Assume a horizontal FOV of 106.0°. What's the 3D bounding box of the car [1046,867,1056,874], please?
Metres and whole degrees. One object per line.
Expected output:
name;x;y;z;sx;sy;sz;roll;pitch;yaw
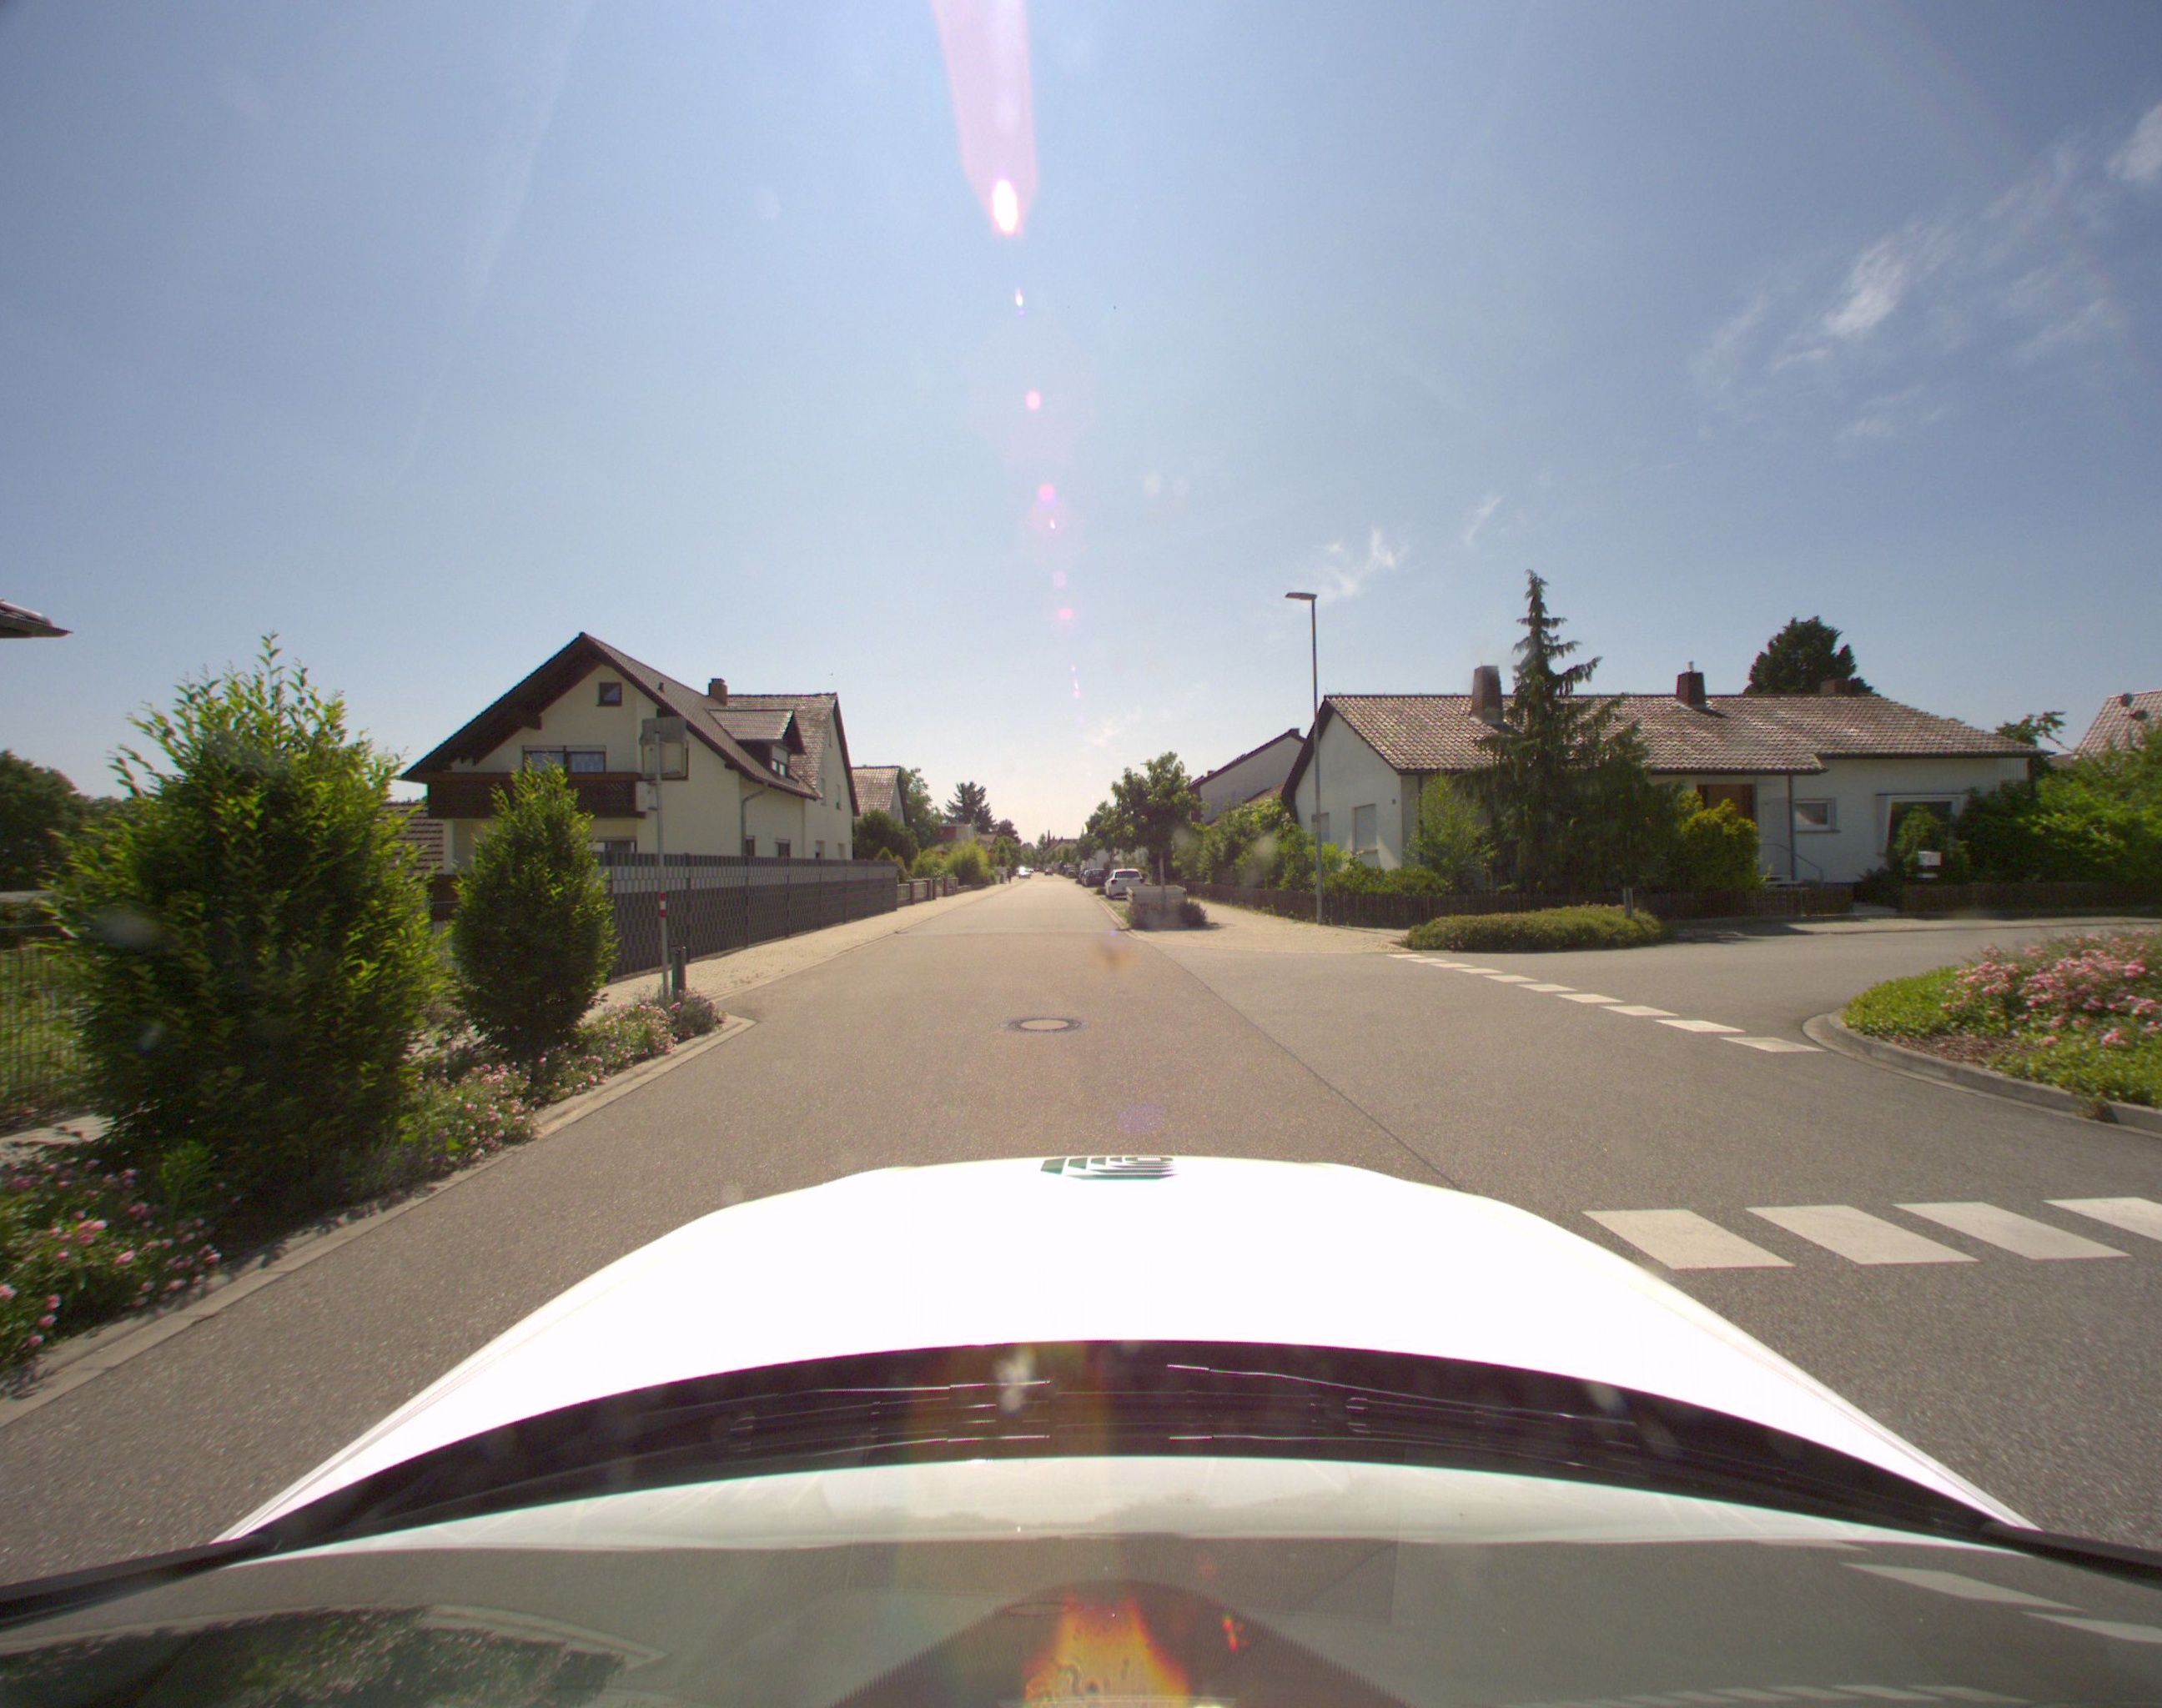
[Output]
car;-6.252;3.486;168.223;1.988;1.430;3.998;-1;-1;-1

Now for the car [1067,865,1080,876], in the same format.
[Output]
car;-1.291;2.815;142.067;2.094;1.882;4.839;-1;-1;-2

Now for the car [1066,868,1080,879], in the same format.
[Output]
car;-1.223;2.939;125.336;1.770;1.595;4.271;-1;-1;-5

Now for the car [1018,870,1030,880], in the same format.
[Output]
car;-9.364;3.418;133.445;1.847;1.488;4.381;-1;-1;-2

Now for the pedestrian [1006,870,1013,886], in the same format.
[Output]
pedestrian;-7.958;2.658;90.621;0.712;1.747;0.960;-1;-1;-2

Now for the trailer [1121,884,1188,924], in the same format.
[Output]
trailer;2.219;1.507;25.260;1.782;1.058;2.897;-1;-1;-1

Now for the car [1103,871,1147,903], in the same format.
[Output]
car;2.070;1.548;39.514;1.809;1.420;3.865;-1;-1;-2

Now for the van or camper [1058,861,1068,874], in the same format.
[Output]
van or camper;-4.011;3.004;181.141;1.989;2.941;3.995;-1;-1;-3

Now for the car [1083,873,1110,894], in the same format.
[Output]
car;1.253;2.409;67.006;1.738;1.533;4.441;-2;-2;-4
